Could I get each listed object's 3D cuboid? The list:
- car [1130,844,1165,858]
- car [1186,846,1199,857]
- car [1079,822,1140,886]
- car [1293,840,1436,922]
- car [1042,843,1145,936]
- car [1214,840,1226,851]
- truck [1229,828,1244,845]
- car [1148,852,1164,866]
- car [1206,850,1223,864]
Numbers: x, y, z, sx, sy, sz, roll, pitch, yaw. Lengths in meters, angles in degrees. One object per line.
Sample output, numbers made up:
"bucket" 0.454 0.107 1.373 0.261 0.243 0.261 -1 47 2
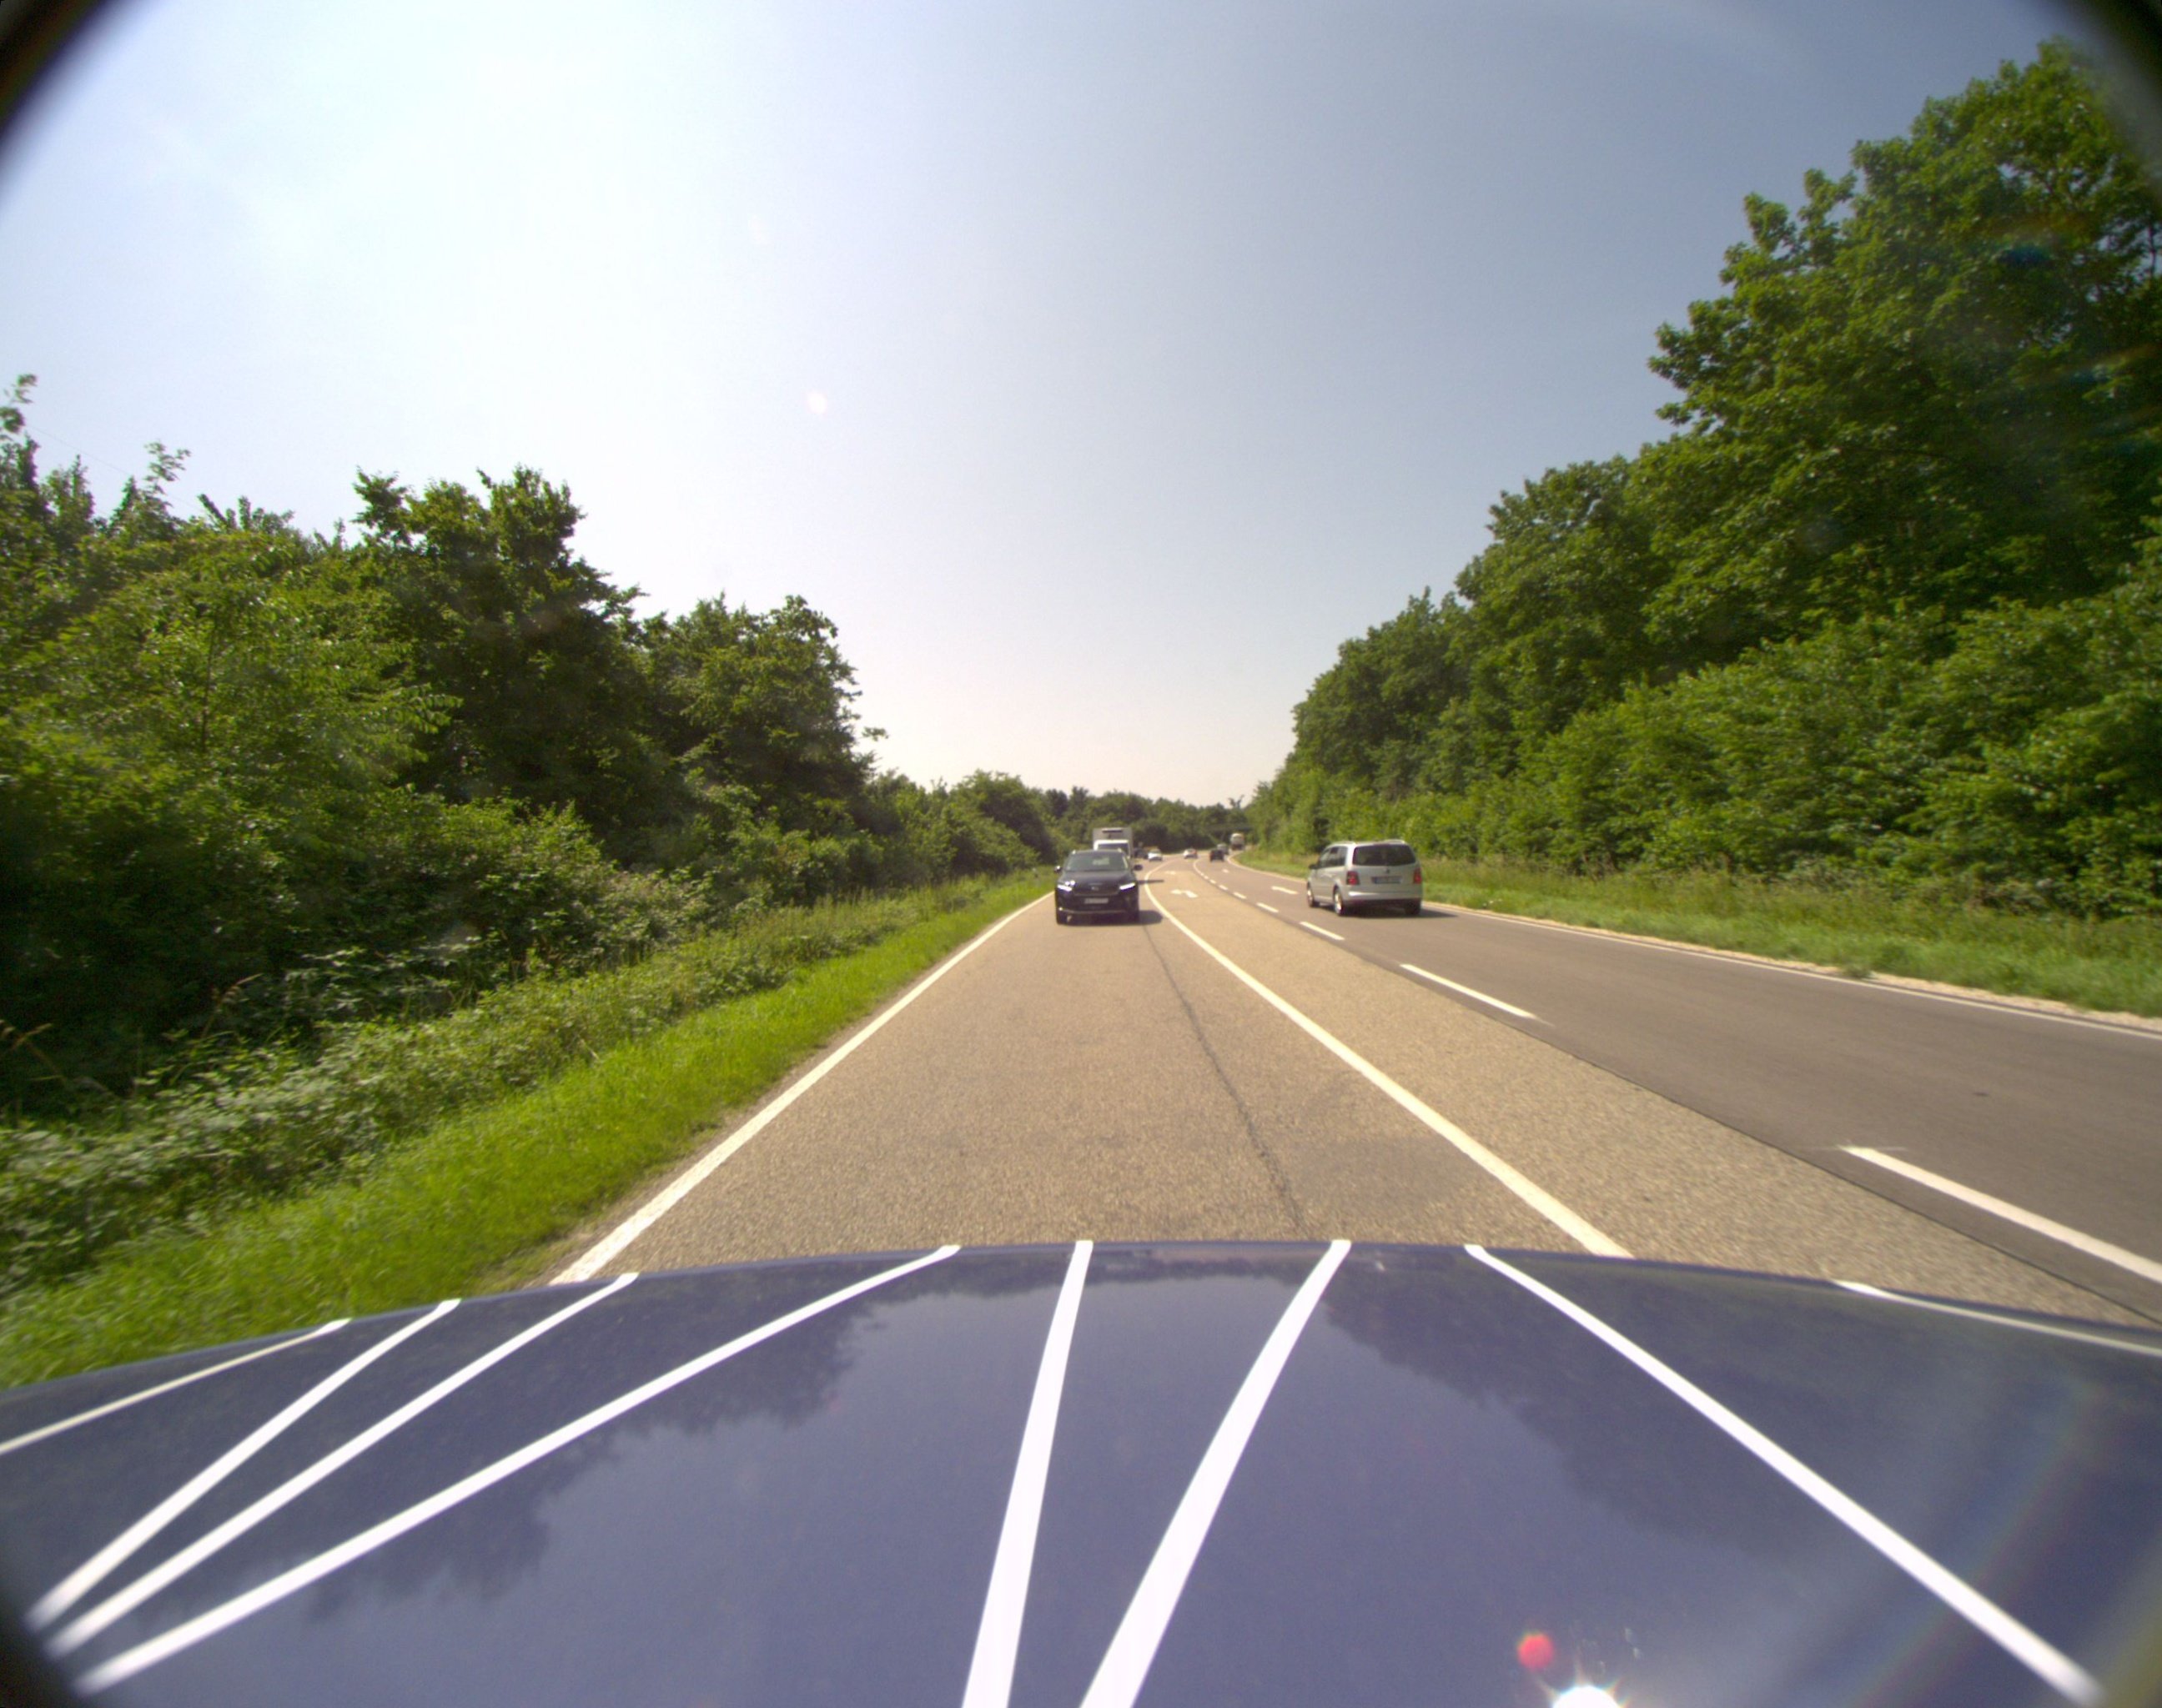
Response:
"car" 10.749 -0.545 122.393 5.228 1.896 2.012 -3 2 -6
"car" 16.446 -0.413 111.976 1.711 1.411 4.100 -2 1 11
"car" 1.650 -0.104 40.670 2.590 3.047 6.883 -2 2 7
"car" 6.428 0.546 17.776 1.807 1.627 4.212 -2 1 1
"car" 0.344 0.701 17.465 1.924 1.711 5.479 -3 0 2
"car" 23.515 -1.373 128.749 1.846 1.769 4.896 -2 1 9
"truck" 34.771 -3.944 169.670 2.631 3.650 8.804 -2 1 14
"car" 10.149 0.649 103.197 1.809 1.797 4.000 -2 0 1
"car" 15.463 0.354 87.859 1.618 1.493 3.553 -2 0 6
